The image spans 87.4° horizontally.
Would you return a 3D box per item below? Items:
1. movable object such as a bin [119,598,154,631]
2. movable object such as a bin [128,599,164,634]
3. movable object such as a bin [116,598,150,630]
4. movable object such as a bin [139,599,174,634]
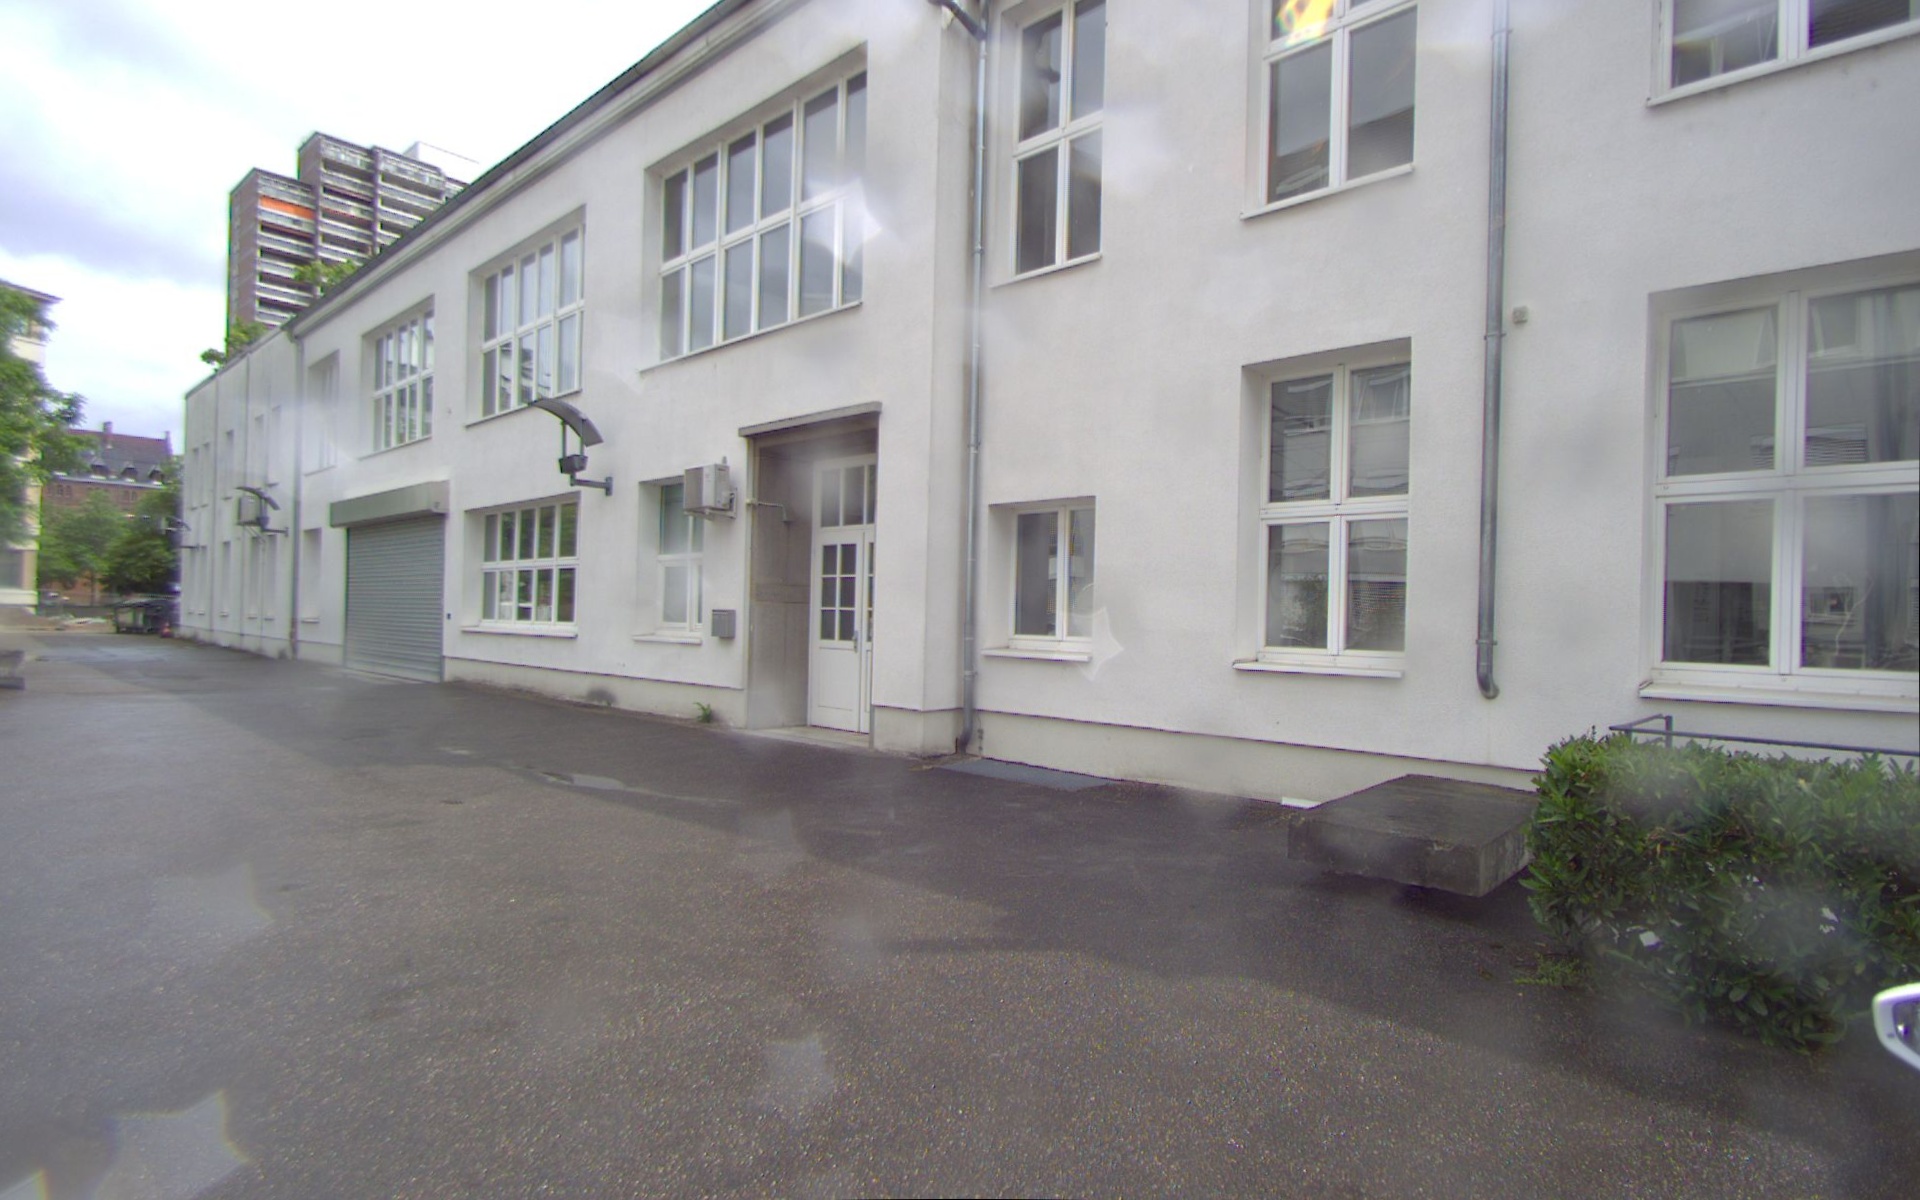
[{"bbox_3d":[-35.181,0.629,42.886,1.059,1.374,1.248,2,0,-43],"label":"movable object such as a bin"},{"bbox_3d":[-33.147,0.678,40.889,1.039,1.374,1.192,2,0,-43],"label":"movable object such as a bin"},{"bbox_3d":[-36.124,0.606,43.859,1.059,1.374,1.248,2,0,-43],"label":"movable object such as a bin"},{"bbox_3d":[-31.779,0.652,39.730,0.972,1.374,0.907,2,0,-43],"label":"movable object such as a bin"}]
